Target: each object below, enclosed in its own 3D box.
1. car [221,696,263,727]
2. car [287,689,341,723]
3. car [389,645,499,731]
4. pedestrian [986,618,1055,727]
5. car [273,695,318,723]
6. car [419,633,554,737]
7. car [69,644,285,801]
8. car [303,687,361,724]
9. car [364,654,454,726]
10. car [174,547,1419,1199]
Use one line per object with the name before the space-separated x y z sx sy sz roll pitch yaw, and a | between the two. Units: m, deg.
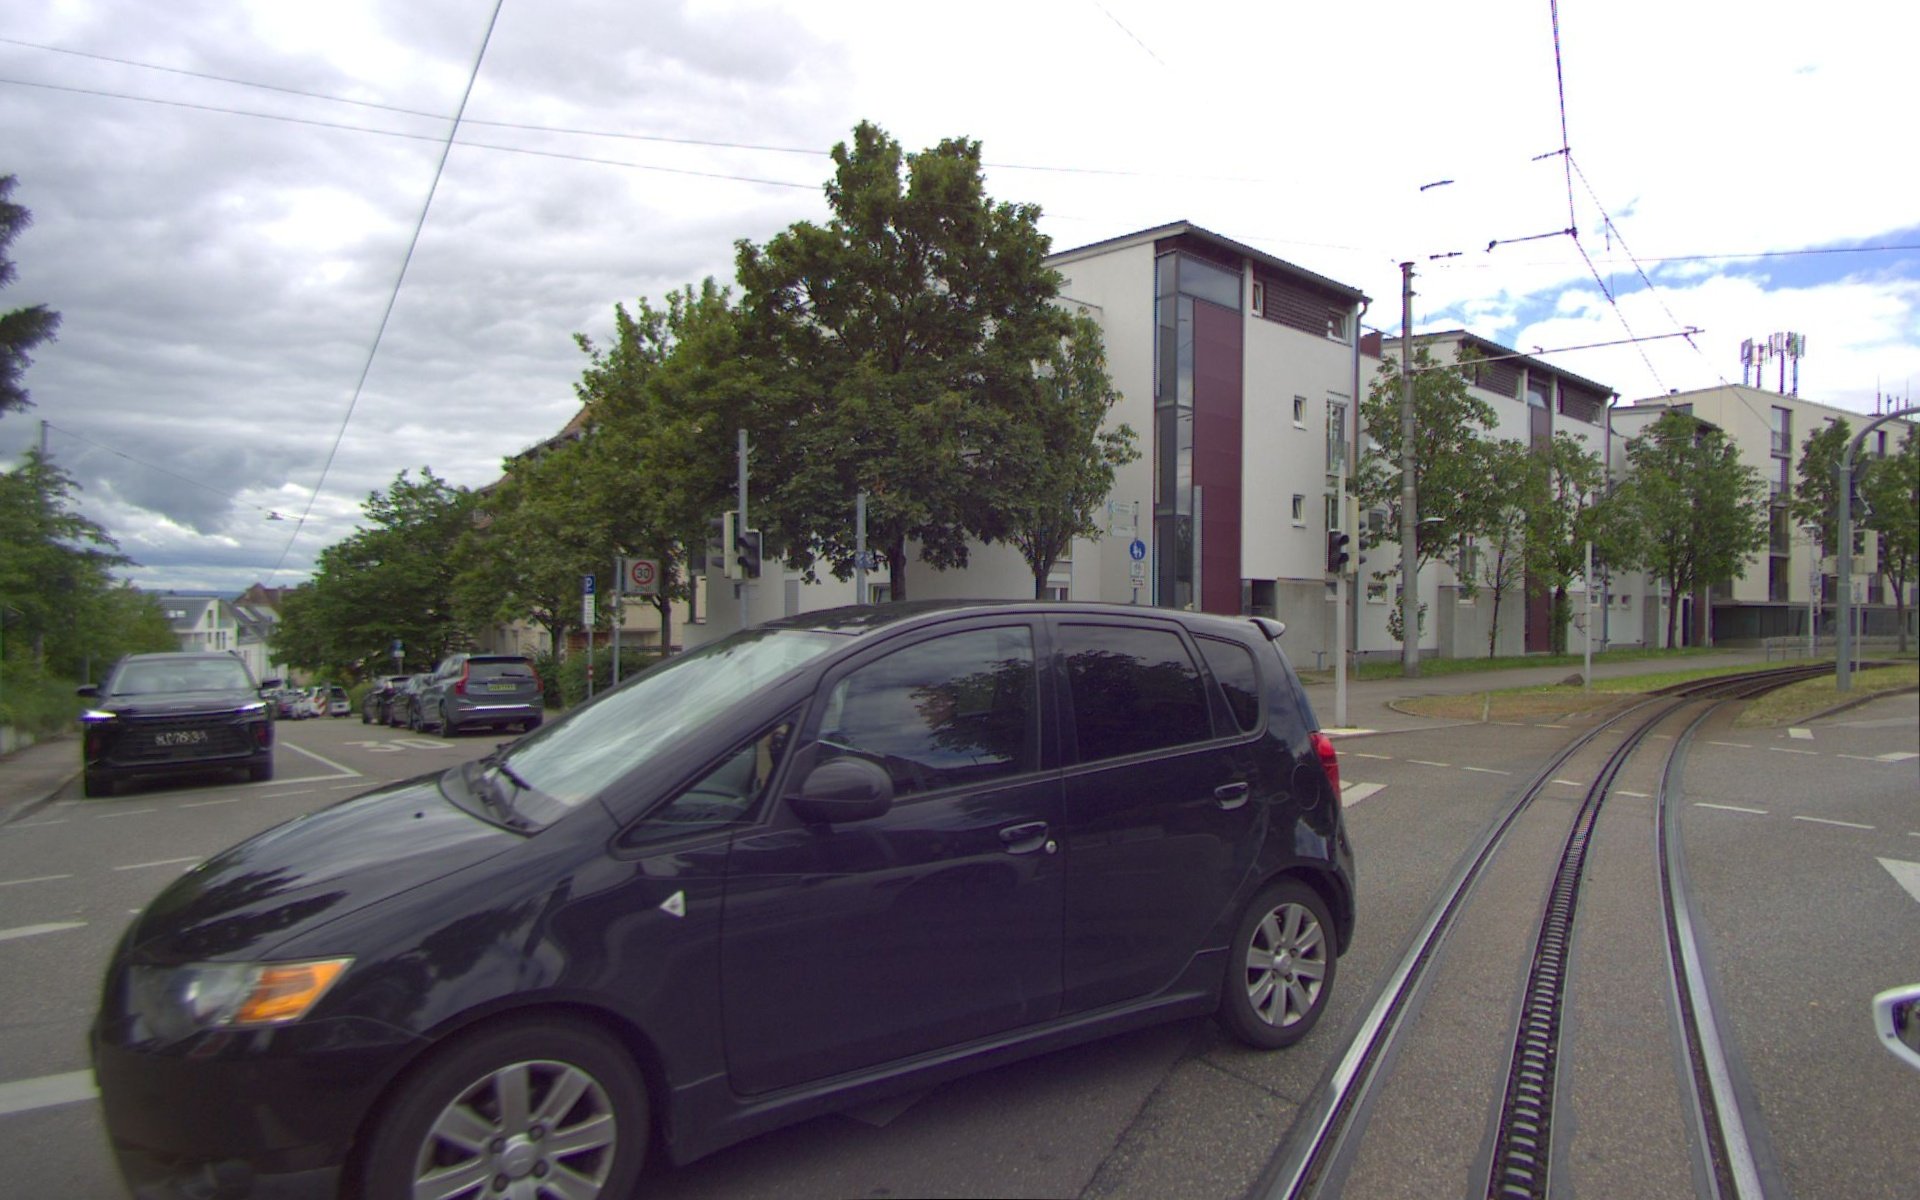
car | -39.854 6.182 55.730 1.779 1.558 3.960 0 -5 -37
car | -32.794 5.405 50.942 1.982 1.536 3.960 0 -6 -38
car | -13.650 2.231 26.444 1.980 2.040 4.426 1 -3 -35
pedestrian | 0.966 1.147 16.119 0.811 1.666 0.670 -2 -1 -35
car | -40.231 6.607 60.806 1.982 1.536 3.960 0 -6 -38
car | -10.611 1.877 22.332 1.980 2.039 4.427 1 -5 -35
car | -10.289 1.513 13.394 1.947 1.691 4.444 1 -4 -36
car | -29.849 5.020 47.700 1.982 1.536 3.960 0 -6 -38
car | -17.271 2.736 31.389 1.980 2.040 4.426 1 -3 -35
car | -0.277 0.727 3.498 3.692 1.525 1.666 1 -3 -32
